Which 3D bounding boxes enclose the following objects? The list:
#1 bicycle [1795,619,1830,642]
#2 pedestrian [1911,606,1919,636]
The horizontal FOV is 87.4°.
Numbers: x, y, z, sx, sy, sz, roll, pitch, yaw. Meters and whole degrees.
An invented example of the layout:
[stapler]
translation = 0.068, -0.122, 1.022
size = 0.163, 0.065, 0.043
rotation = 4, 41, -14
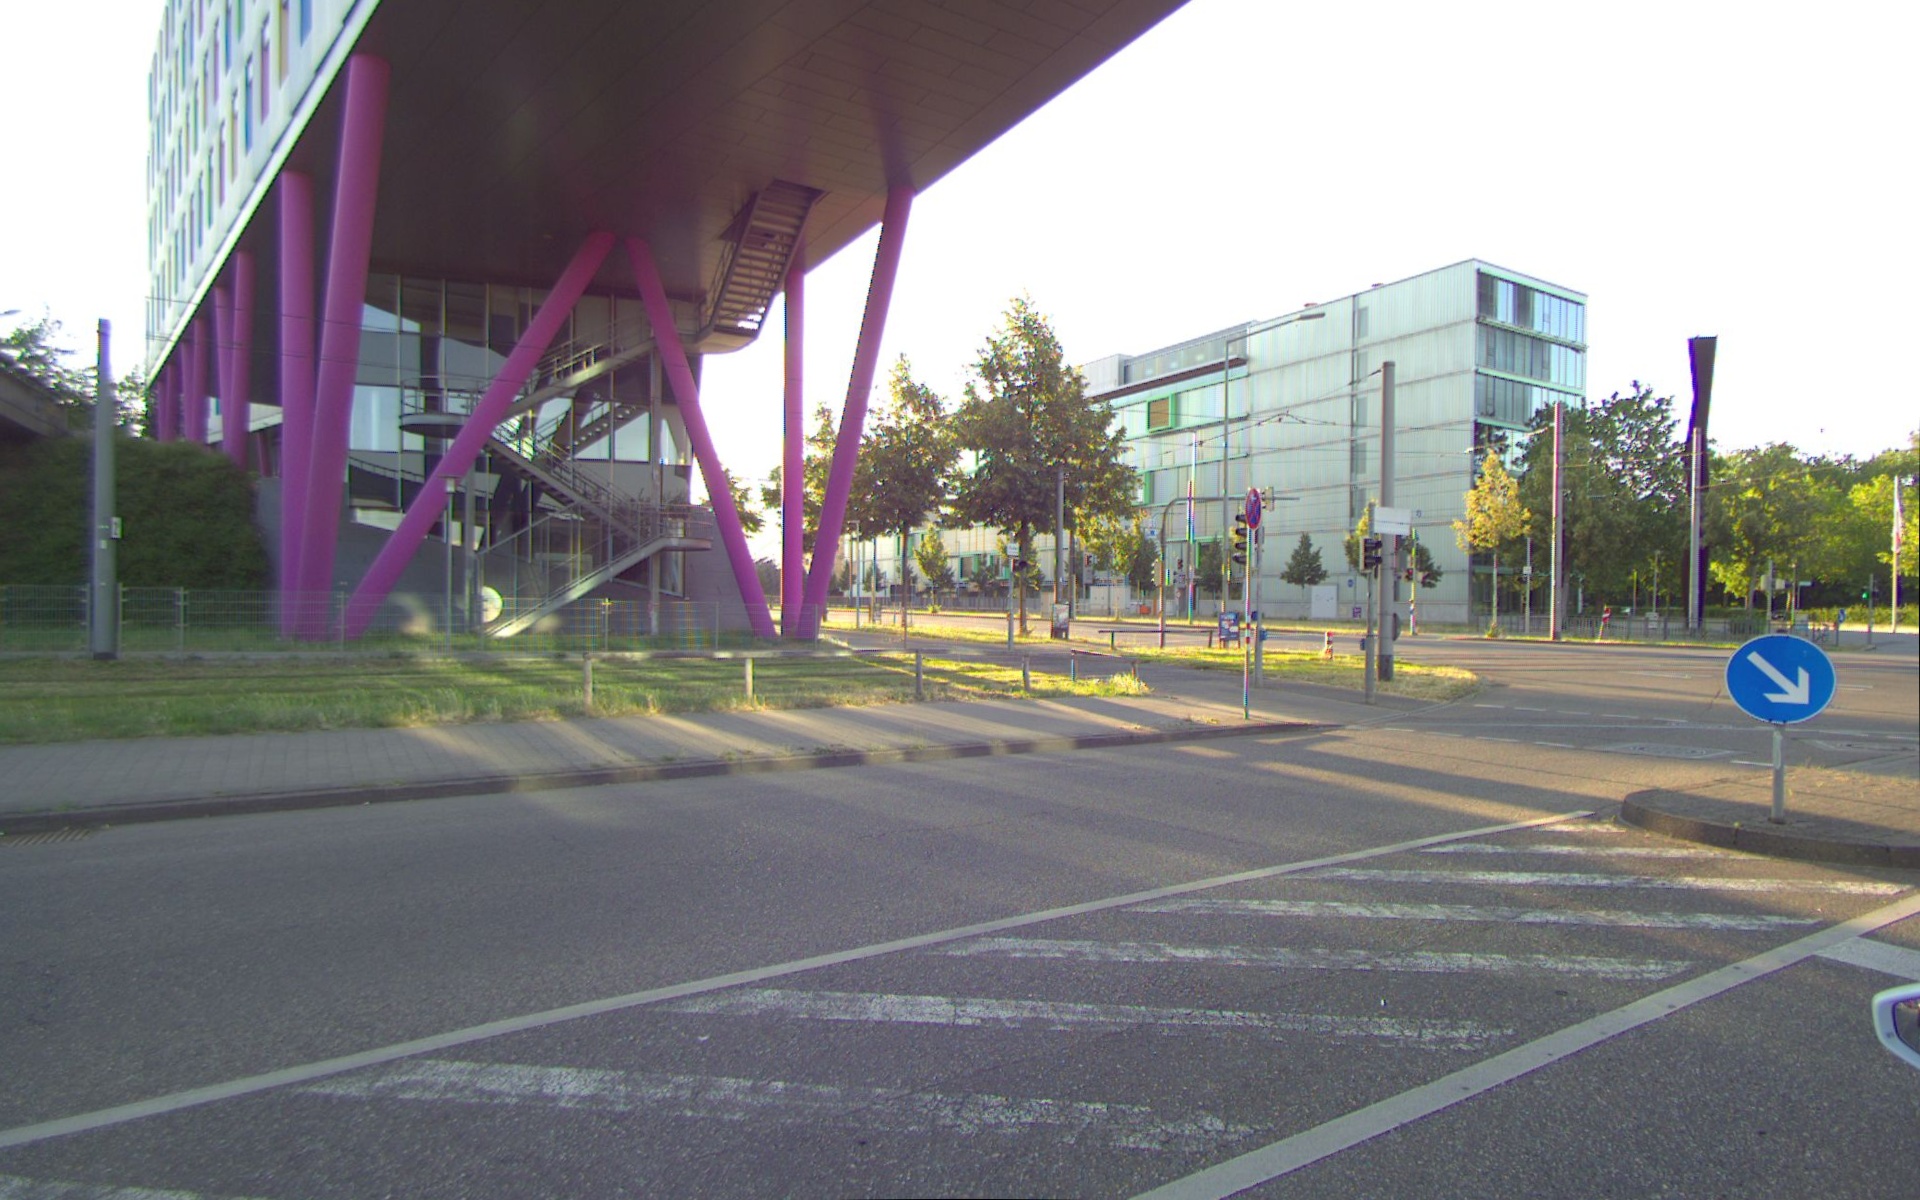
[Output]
[bicycle]
translation = 43.897, 1.562, 51.720
size = 2.367, 1.151, 0.695
rotation = 1, 0, -33
[pedestrian]
translation = 56.012, 1.229, 58.451
size = 0.882, 1.778, 0.718
rotation = 1, 0, 35
